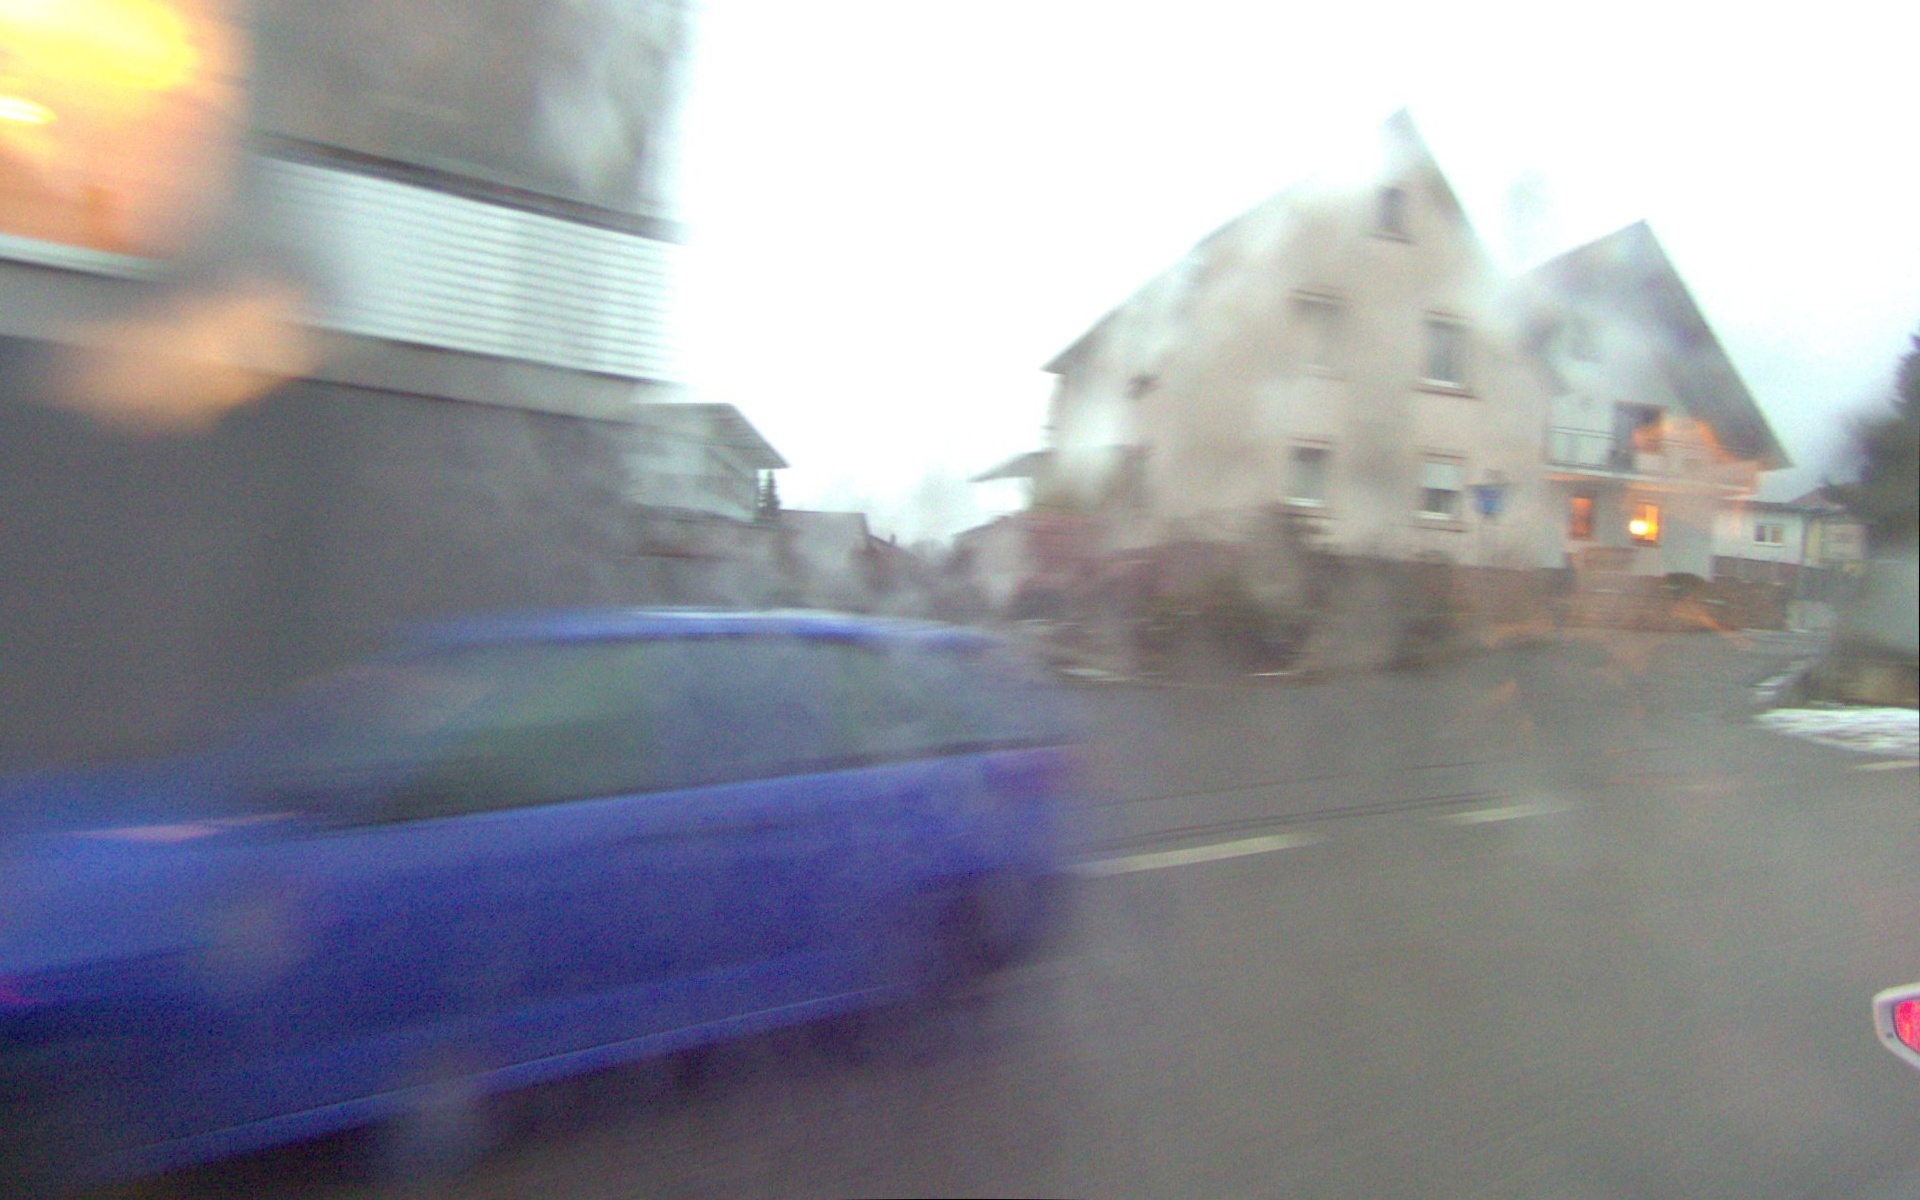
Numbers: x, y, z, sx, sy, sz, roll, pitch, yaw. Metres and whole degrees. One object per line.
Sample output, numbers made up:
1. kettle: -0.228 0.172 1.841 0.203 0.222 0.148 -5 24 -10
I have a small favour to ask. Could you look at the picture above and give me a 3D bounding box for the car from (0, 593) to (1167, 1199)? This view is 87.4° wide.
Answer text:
1. car: -1.344 0.718 3.254 3.870 1.428 1.659 1 0 -32
